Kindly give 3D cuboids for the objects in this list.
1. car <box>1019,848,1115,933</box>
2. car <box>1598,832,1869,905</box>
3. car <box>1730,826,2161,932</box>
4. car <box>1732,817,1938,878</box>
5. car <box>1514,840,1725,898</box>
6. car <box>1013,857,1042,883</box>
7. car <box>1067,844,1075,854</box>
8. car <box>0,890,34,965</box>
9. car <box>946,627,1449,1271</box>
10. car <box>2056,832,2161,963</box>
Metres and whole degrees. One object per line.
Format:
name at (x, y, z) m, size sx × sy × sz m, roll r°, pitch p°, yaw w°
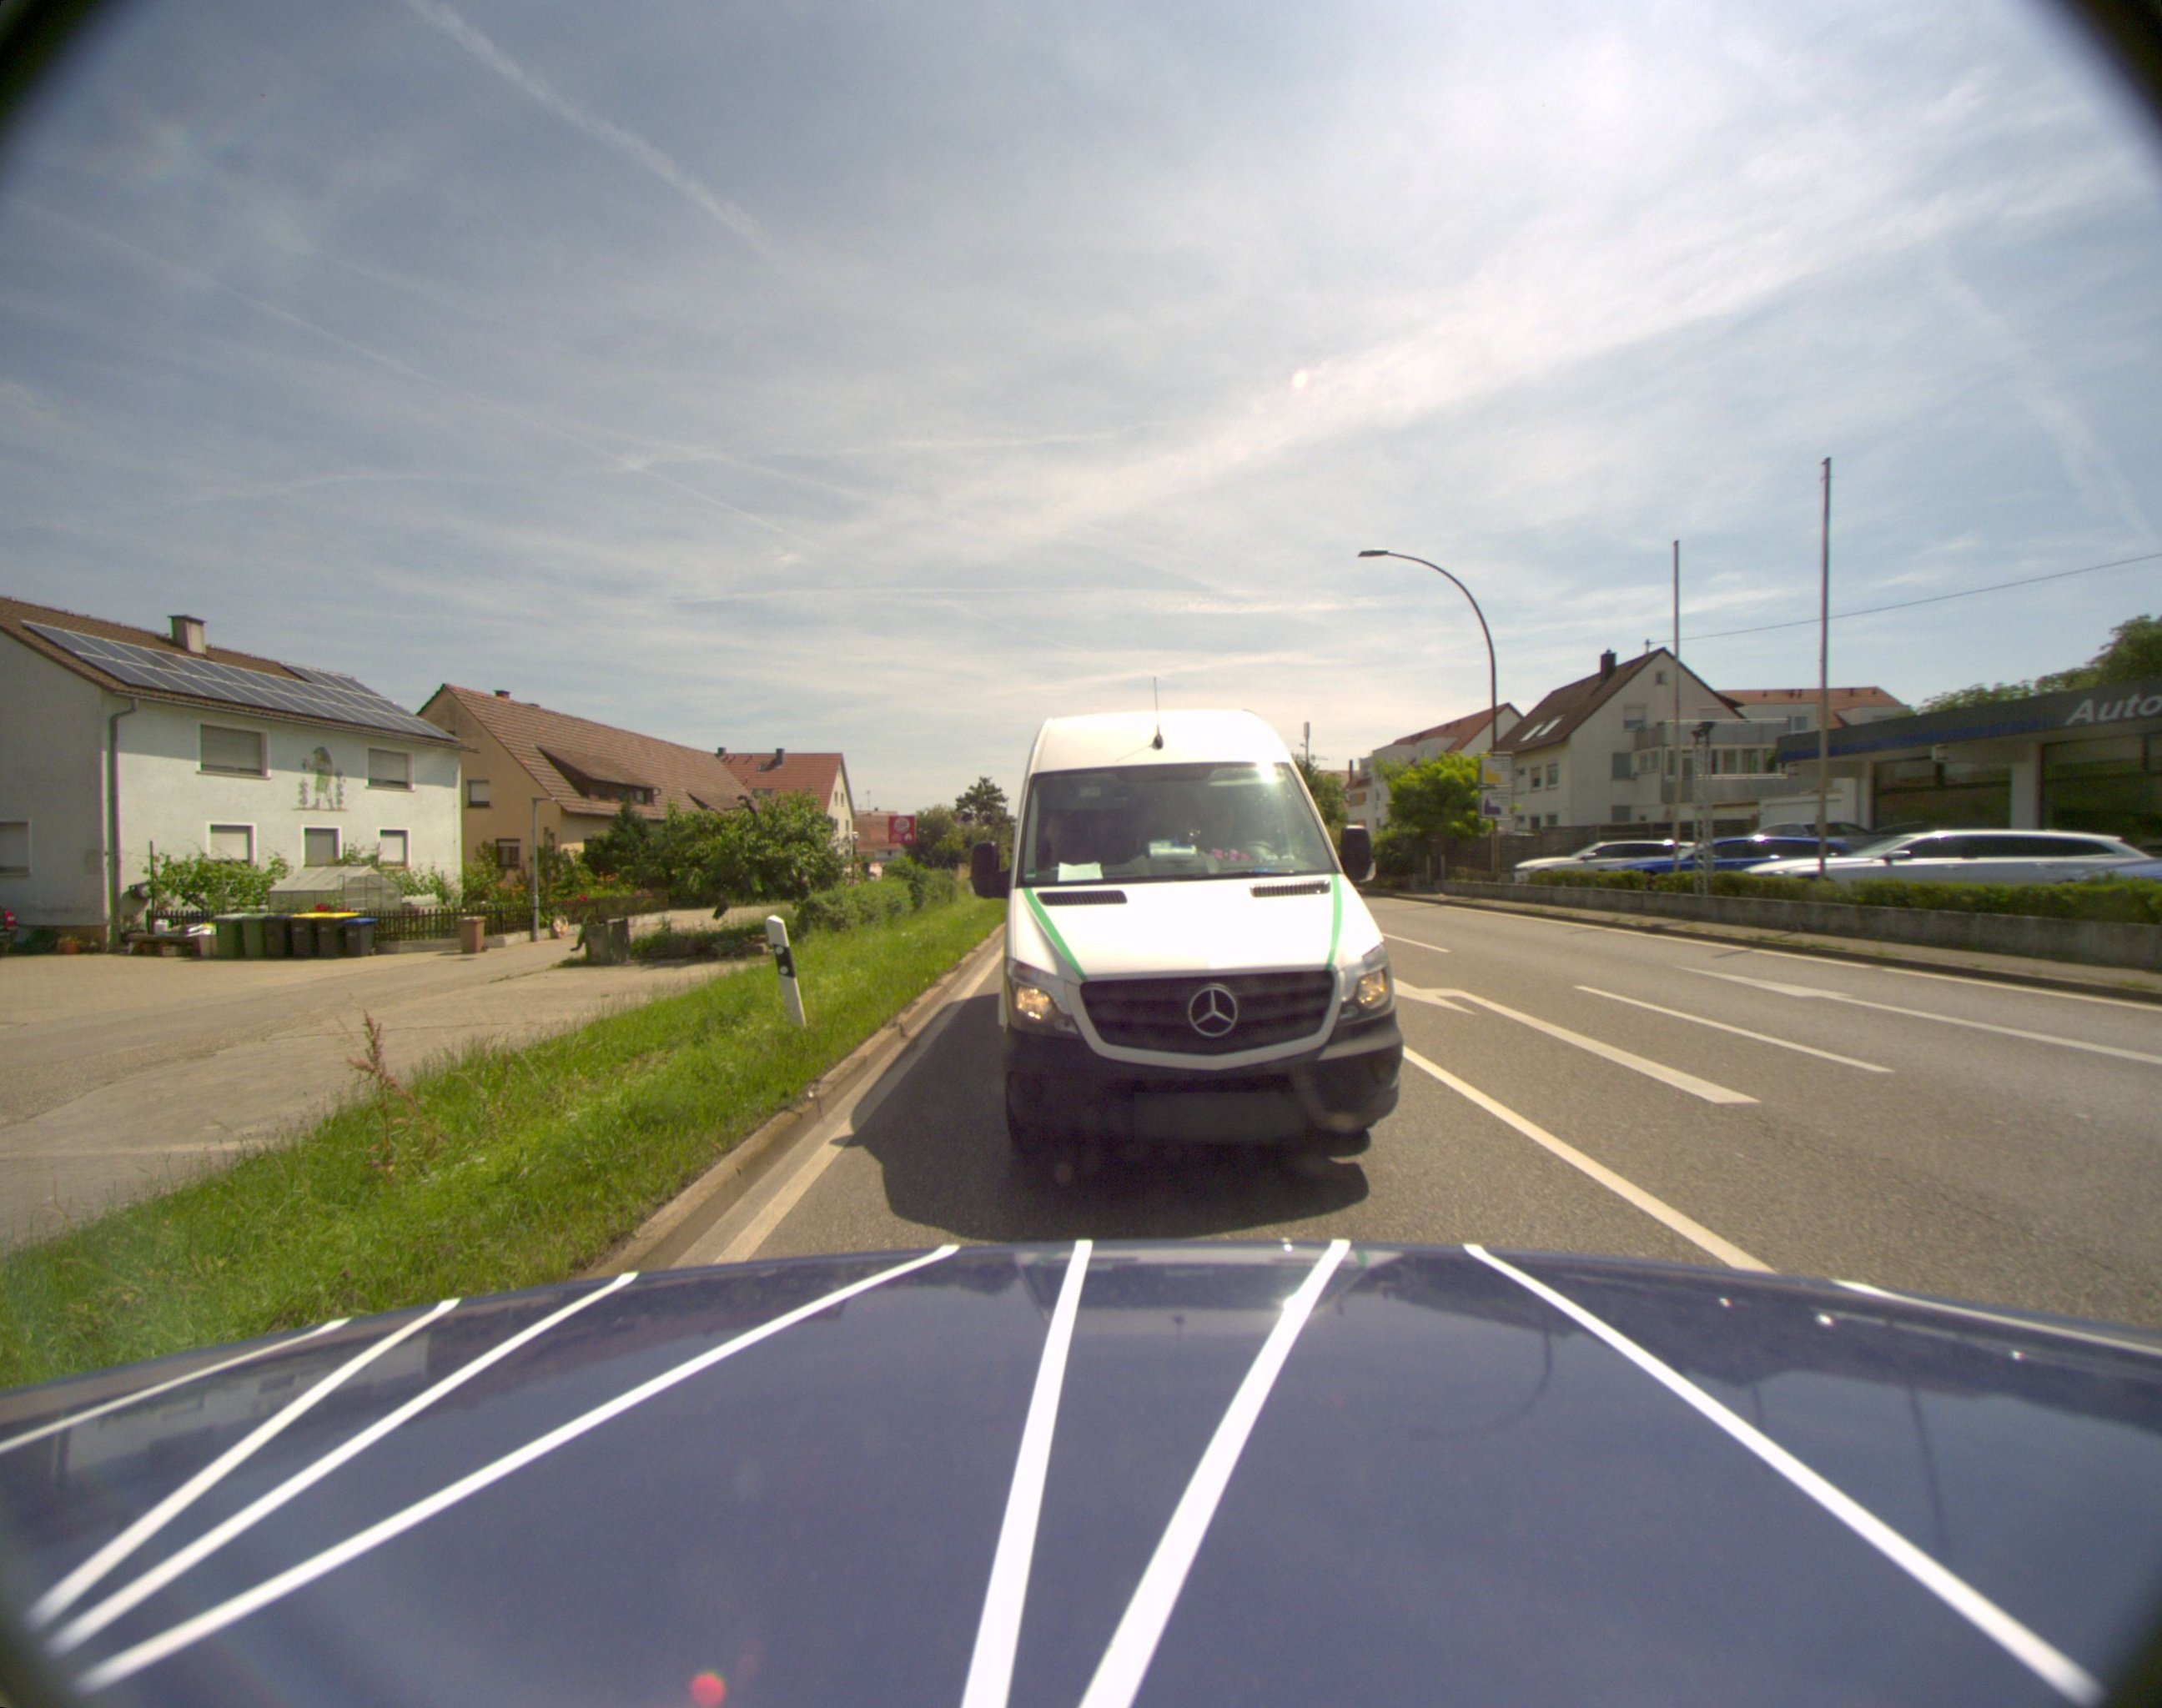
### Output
car at (-0.303, 0.743, 17.929) m, size 1.884 × 1.652 × 4.625 m, roll -3°, pitch 0°, yaw 0°
car at (14.349, 0.326, 17.090) m, size 4.331 × 1.439 × 1.860 m, roll -2°, pitch 1°, yaw 29°
car at (14.122, 0.449, 12.811) m, size 4.505 × 1.439 × 1.860 m, roll -4°, pitch 0°, yaw 30°
car at (20.911, -0.178, 21.406) m, size 1.807 × 1.456 × 4.585 m, roll -2°, pitch 0°, yaw 10°
car at (14.602, 0.425, 20.984) m, size 4.568 × 1.439 × 1.860 m, roll -2°, pitch 1°, yaw 29°
car at (-3.465, 1.037, 49.945) m, size 1.636 × 1.476 × 3.551 m, roll -4°, pitch 1°, yaw -1°
car at (-2.811, -1.494, 208.138) m, size 1.998 × 2.574 × 3.999 m, roll -2°, pitch 1°, yaw 0°
car at (-26.856, 1.730, 17.162) m, size 3.957 × 1.683 × 1.844 m, roll 0°, pitch 1°, yaw 3°
car at (0.468, 0.375, 5.897) m, size 1.939 × 2.514 × 5.748 m, roll -2°, pitch 0°, yaw 0°
car at (14.525, 0.433, 8.331) m, size 4.331 × 1.439 × 1.860 m, roll -2°, pitch 2°, yaw 32°
